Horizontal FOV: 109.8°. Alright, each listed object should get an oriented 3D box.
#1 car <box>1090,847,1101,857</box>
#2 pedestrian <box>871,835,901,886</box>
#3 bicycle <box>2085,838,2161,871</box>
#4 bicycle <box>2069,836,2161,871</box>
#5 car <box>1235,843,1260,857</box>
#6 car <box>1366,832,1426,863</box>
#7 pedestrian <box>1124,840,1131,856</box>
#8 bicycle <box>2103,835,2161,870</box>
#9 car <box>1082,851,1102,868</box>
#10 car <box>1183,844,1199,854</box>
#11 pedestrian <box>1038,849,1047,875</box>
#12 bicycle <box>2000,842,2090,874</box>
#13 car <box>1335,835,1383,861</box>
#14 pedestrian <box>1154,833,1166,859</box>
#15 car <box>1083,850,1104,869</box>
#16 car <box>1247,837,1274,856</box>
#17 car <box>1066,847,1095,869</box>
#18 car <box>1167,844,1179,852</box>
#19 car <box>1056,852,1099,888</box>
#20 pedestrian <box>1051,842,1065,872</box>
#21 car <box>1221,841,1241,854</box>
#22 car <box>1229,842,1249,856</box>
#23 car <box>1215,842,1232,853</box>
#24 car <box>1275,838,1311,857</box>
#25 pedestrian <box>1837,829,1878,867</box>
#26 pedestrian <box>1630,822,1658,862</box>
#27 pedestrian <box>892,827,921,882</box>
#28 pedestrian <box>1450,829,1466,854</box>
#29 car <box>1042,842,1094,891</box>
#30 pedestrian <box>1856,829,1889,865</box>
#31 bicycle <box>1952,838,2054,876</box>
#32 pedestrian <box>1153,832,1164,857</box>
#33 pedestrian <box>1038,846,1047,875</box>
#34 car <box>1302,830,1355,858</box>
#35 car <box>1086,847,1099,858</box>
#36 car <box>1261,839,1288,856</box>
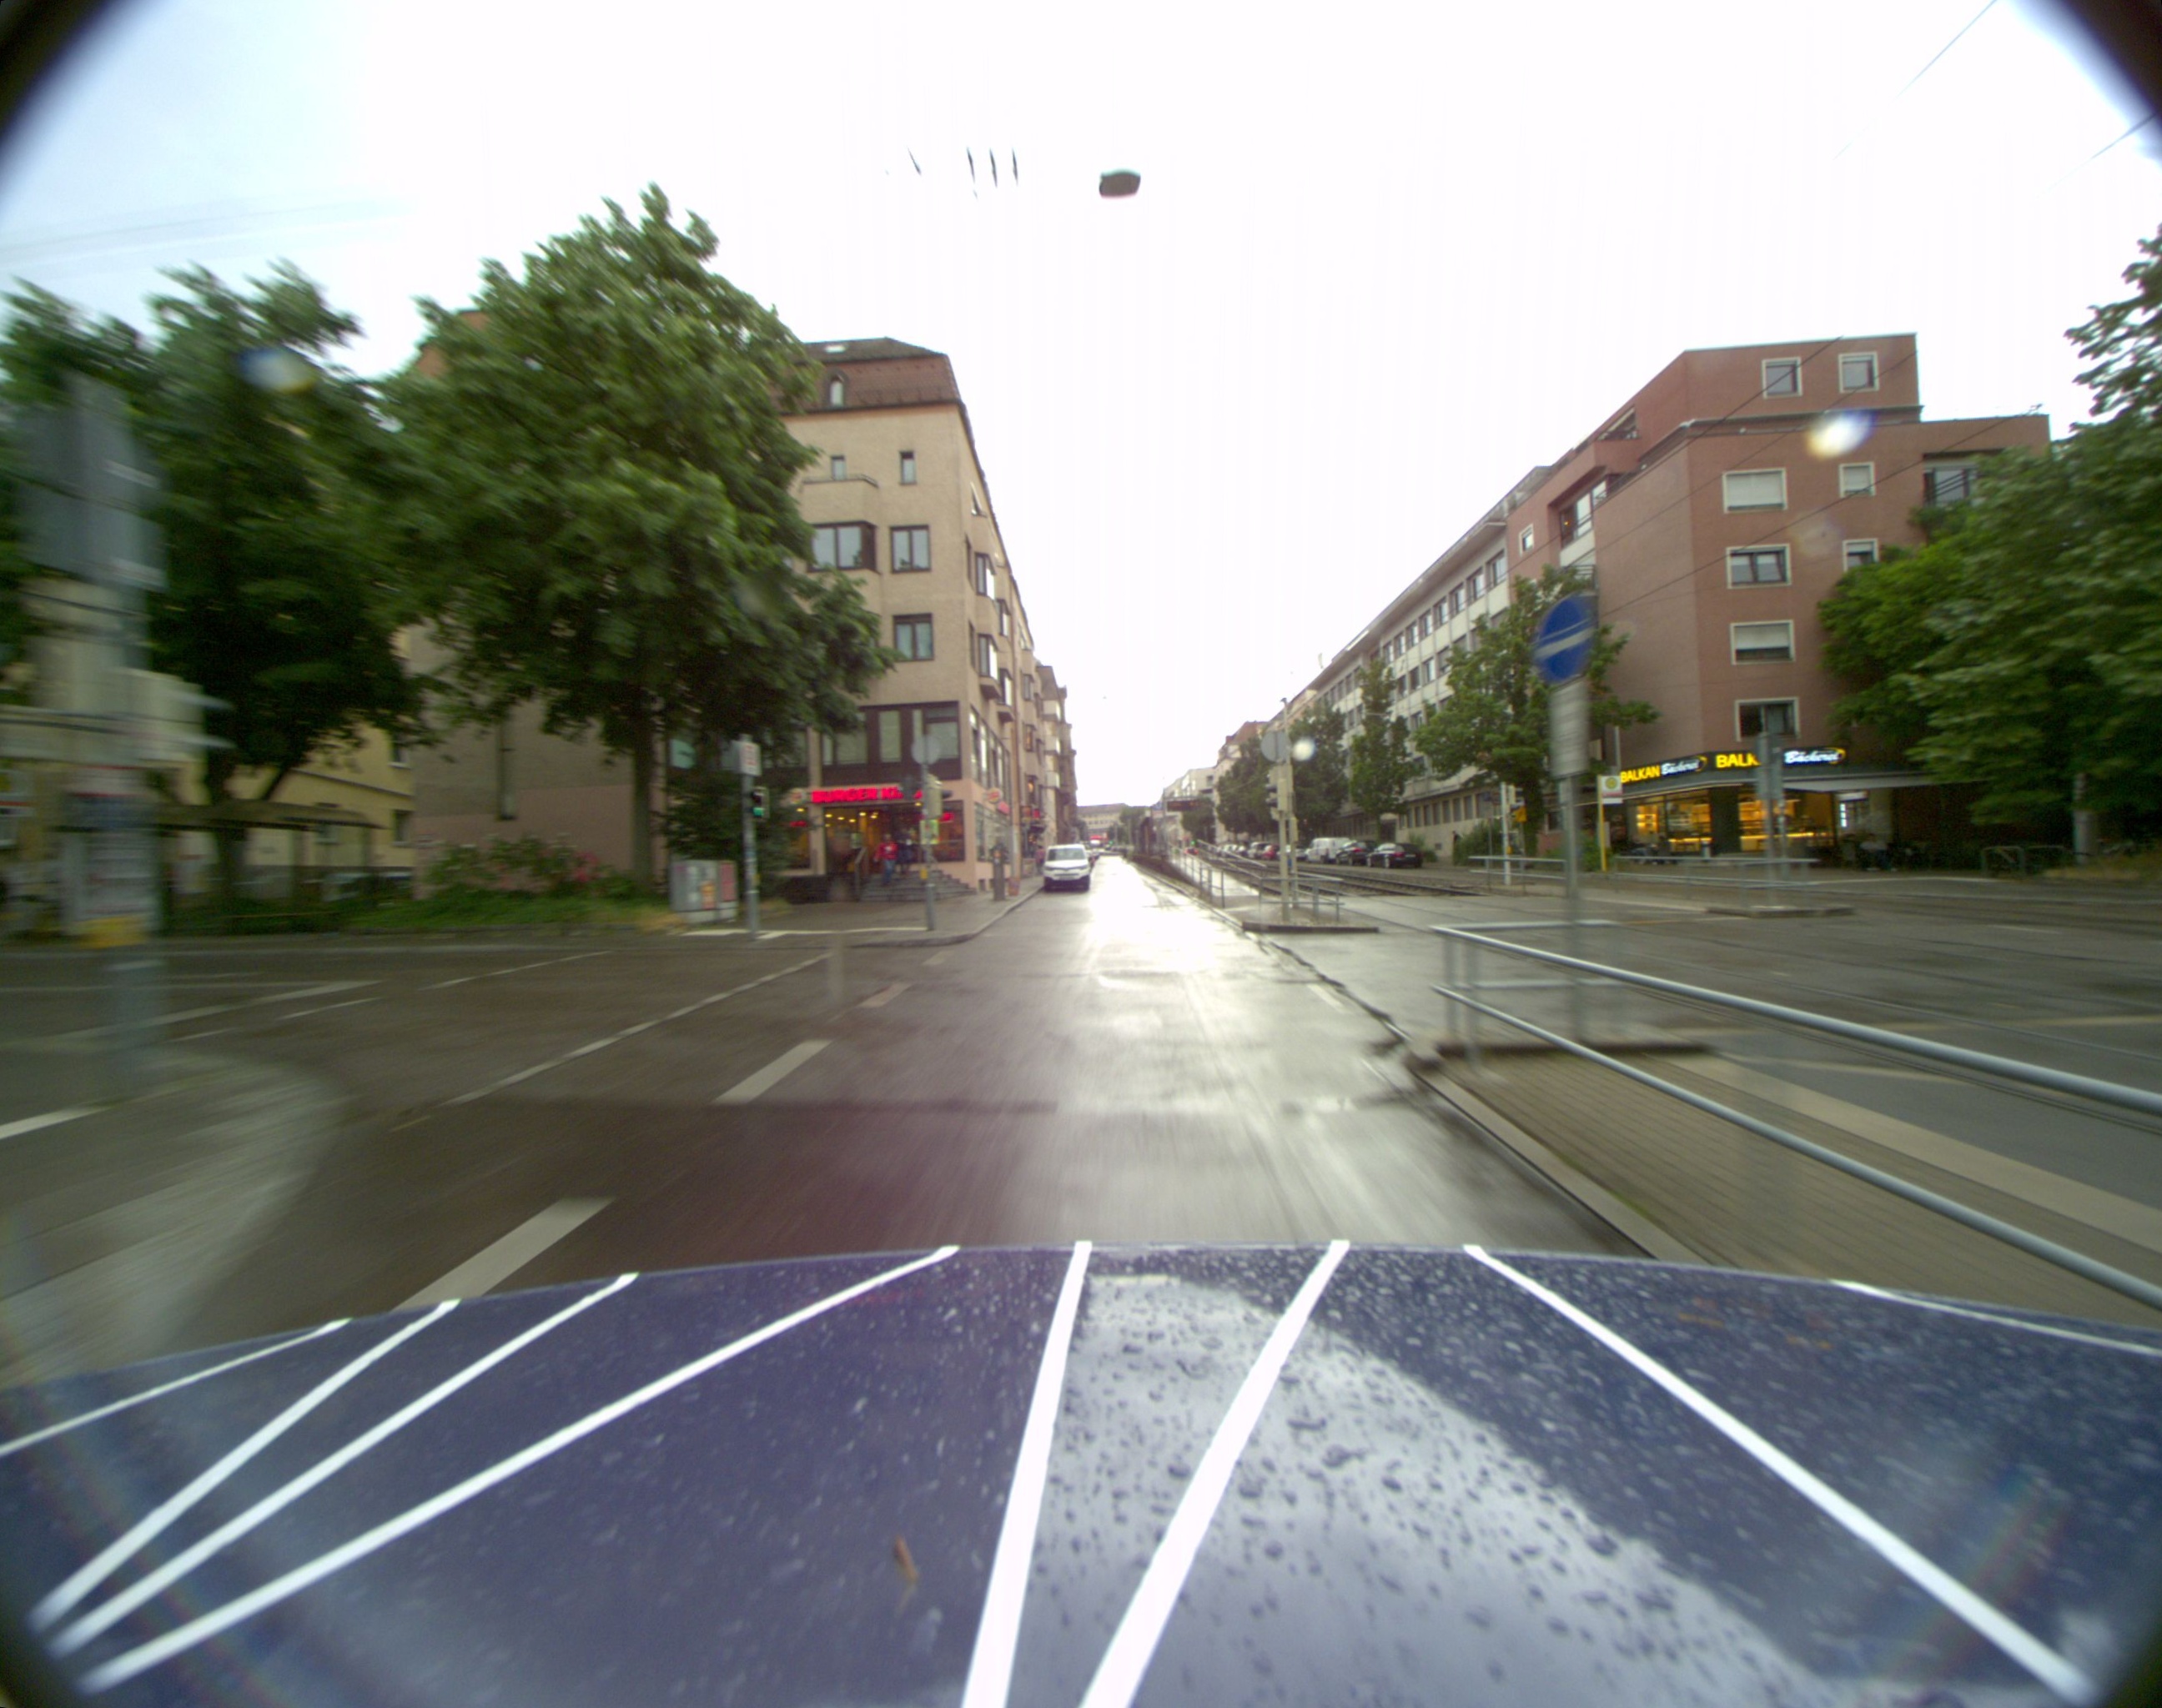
[{"bbox_3d":[2.204,-0.292,114.996,1.588,1.343,3.977,-2,1,0],"label":"car"},{"bbox_3d":[-6.369,0.212,24.846,0.723,1.640,0.627,0,2,42],"label":"pedestrian"},{"bbox_3d":[27.732,0.004,20.074,0.338,0.838,1.647,-1,1,5],"label":"bicycle"},{"bbox_3d":[27.366,-0.025,20.124,0.340,0.905,1.647,-1,1,5],"label":"bicycle"},{"bbox_3d":[18.170,-0.462,83.116,1.643,1.432,4.729,-2,1,1],"label":"car"},{"bbox_3d":[17.474,-0.361,42.329,1.642,1.614,4.371,-2,1,2],"label":"car"},{"bbox_3d":[5.027,-0.653,82.691,0.653,1.752,0.882,-1,1,-2],"label":"pedestrian"},{"bbox_3d":[28.249,-0.041,20.087,0.340,0.898,1.647,-1,1,5],"label":"bicycle"},{"bbox_3d":[1.058,0.529,70.467,1.720,1.454,3.445,-2,1,2],"label":"car"},{"bbox_3d":[16.221,-0.721,112.199,1.696,1.454,4.529,-2,1,-1],"label":"car"},{"bbox_3d":[-2.516,0.495,49.268,0.546,1.671,0.595,-1,1,-6],"label":"pedestrian"},{"bbox_3d":[25.536,0.094,20.164,0.340,0.811,1.646,-1,1,2],"label":"bicycle"},{"bbox_3d":[17.660,-0.408,48.460,1.642,1.527,4.371,-2,1,2],"label":"car"},{"bbox_3d":[4.743,-0.462,45.751,0.585,1.548,0.701,-1,1,0],"label":"pedestrian"},{"bbox_3d":[1.069,0.473,63.766,1.649,1.454,3.414,-2,1,2],"label":"car"},{"bbox_3d":[18.287,-0.768,77.529,1.678,1.807,4.432,-2,1,1],"label":"car"},{"bbox_3d":[0.003,0.281,54.397,1.911,1.454,4.245,-2,1,1],"label":"car"},{"bbox_3d":[16.657,-1.079,137.671,1.643,1.330,3.735,-2,1,0],"label":"car"},{"bbox_3d":[-0.113,0.748,37.966,1.911,1.606,4.413,-2,1,2],"label":"car"},{"bbox_3d":[-1.408,0.175,46.759,0.757,1.809,0.588,-1,1,3],"label":"pedestrian"},{"bbox_3d":[18.712,-0.852,94.714,1.662,1.575,4.337,-2,1,0],"label":"car"},{"bbox_3d":[18.343,-0.572,88.371,1.642,1.529,4.022,-2,1,2],"label":"car"},{"bbox_3d":[18.827,-0.853,100.582,1.718,1.367,4.457,-2,1,3],"label":"car"},{"bbox_3d":[17.760,-0.563,63.821,1.696,1.454,4.529,-2,1,-1],"label":"car"},{"bbox_3d":[24.555,-0.176,24.040,0.677,1.171,0.608,-1,1,7],"label":"pedestrian"},{"bbox_3d":[23.050,-0.482,31.136,0.560,1.587,0.818,-1,1,3],"label":"pedestrian"},{"bbox_3d":[-5.805,0.004,25.269,0.665,1.809,0.597,0,2,42],"label":"pedestrian"},{"bbox_3d":[23.157,-0.778,46.658,0.701,1.549,0.585,-1,1,-4],"label":"pedestrian"},{"bbox_3d":[-0.491,0.440,31.169,1.911,1.796,4.776,-2,1,0],"label":"car"},{"bbox_3d":[25.917,-0.234,24.877,0.679,1.171,0.607,-2,1,-30],"label":"pedestrian"},{"bbox_3d":[24.568,0.066,20.299,0.481,0.953,1.873,-1,1,2],"label":"bicycle"},{"bbox_3d":[5.345,-0.653,52.457,0.712,1.684,0.701,-1,1,-1],"label":"pedestrian"},{"bbox_3d":[-2.470,0.412,48.560,0.530,1.848,0.556,-1,1,-6],"label":"pedestrian"},{"bbox_3d":[17.730,-0.713,54.717,1.912,1.834,5.256,-2,1,-2],"label":"car"},{"bbox_3d":[1.475,-0.245,97.393,1.628,1.343,3.829,-2,1,0],"label":"car"},{"bbox_3d":[18.231,-0.597,71.779,1.643,1.530,3.803,-2,1,1],"label":"car"}]
